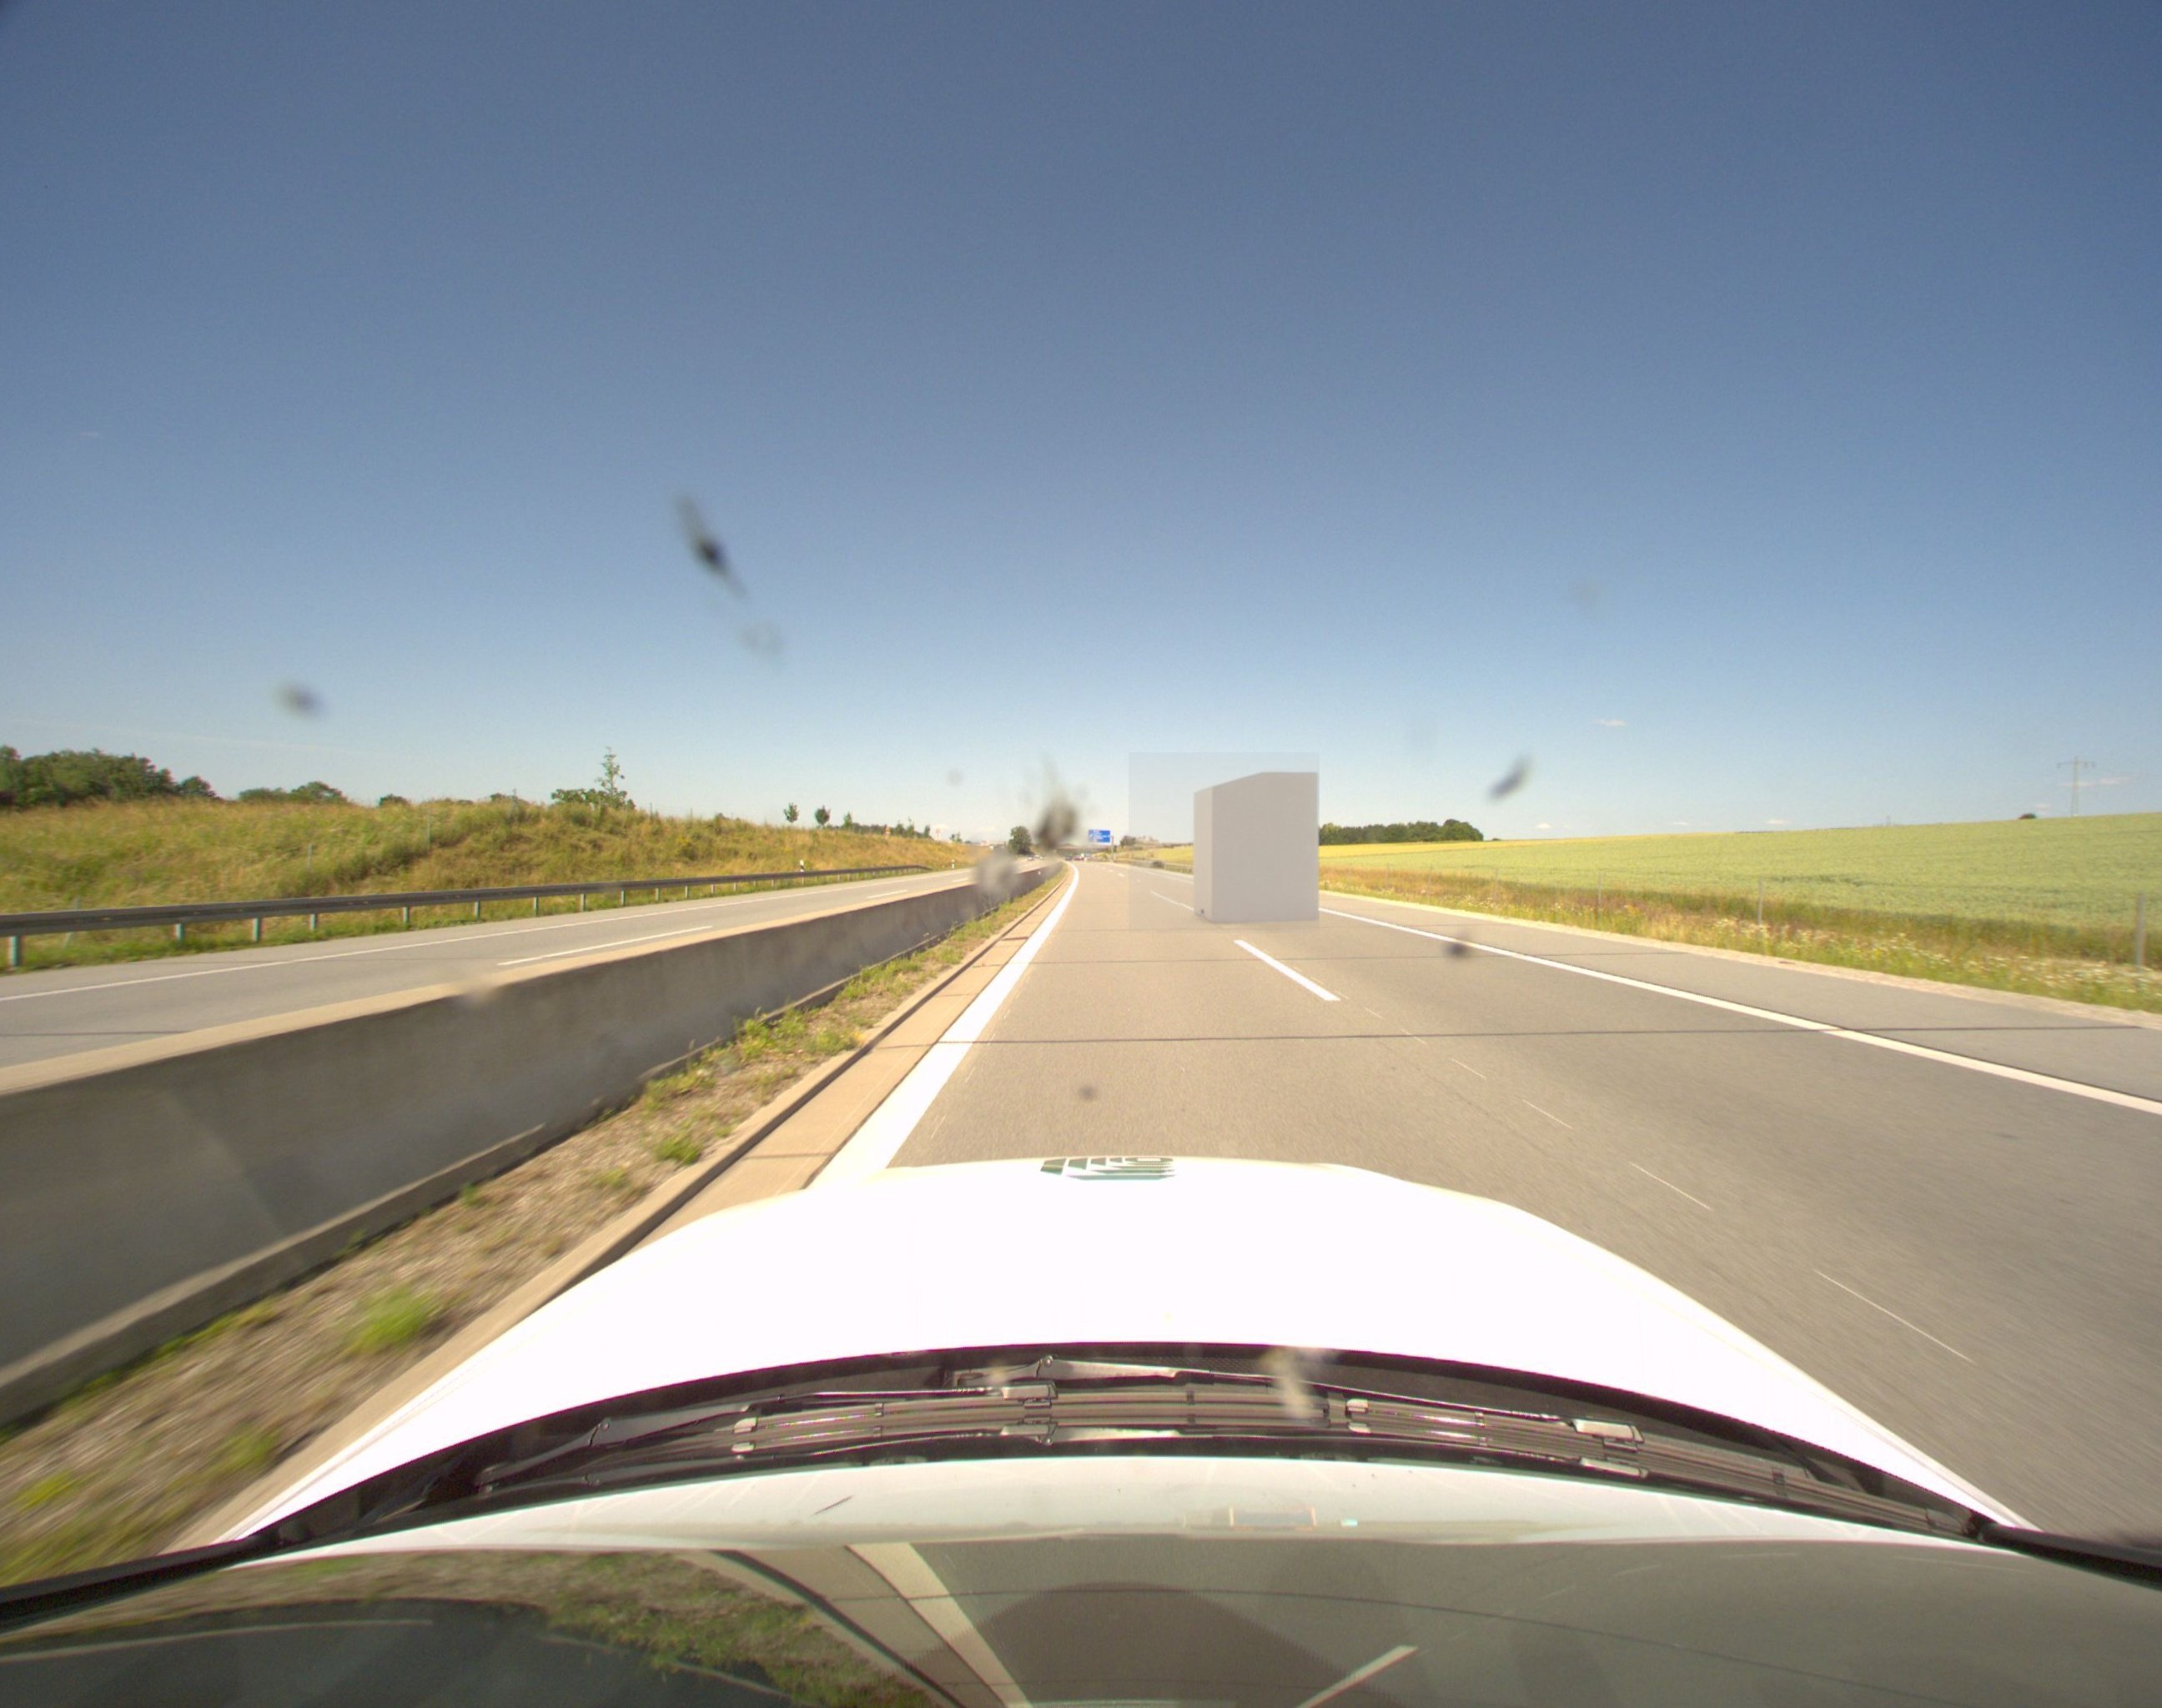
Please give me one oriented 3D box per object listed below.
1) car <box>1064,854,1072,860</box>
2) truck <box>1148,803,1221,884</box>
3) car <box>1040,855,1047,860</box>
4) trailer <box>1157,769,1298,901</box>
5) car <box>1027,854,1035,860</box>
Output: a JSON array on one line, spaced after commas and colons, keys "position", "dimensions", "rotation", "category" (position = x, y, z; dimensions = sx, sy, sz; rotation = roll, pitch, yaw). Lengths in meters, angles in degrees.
[{"position": [-3.698, 0.889, 234.418], "dimensions": [1.987, 1.552, 3.999], "rotation": [-1, 0, 0], "category": "car"}, {"position": [5.525, -0.549, 44.460], "dimensions": [3.073, 4.014, 6.187], "rotation": [-2, 0, -1], "category": "truck"}, {"position": [-11.569, 1.015, 252.122], "dimensions": [1.876, 1.575, 4.557], "rotation": [-2, 0, -5], "category": "car"}, {"position": [5.581, -0.630, 34.749], "dimensions": [3.166, 4.294, 15.457], "rotation": [-1, 0, 0], "category": "trailer"}, {"position": [-12.954, 0.845, 210.537], "dimensions": [1.874, 1.502, 4.561], "rotation": [-1, 0, -2], "category": "car"}]
